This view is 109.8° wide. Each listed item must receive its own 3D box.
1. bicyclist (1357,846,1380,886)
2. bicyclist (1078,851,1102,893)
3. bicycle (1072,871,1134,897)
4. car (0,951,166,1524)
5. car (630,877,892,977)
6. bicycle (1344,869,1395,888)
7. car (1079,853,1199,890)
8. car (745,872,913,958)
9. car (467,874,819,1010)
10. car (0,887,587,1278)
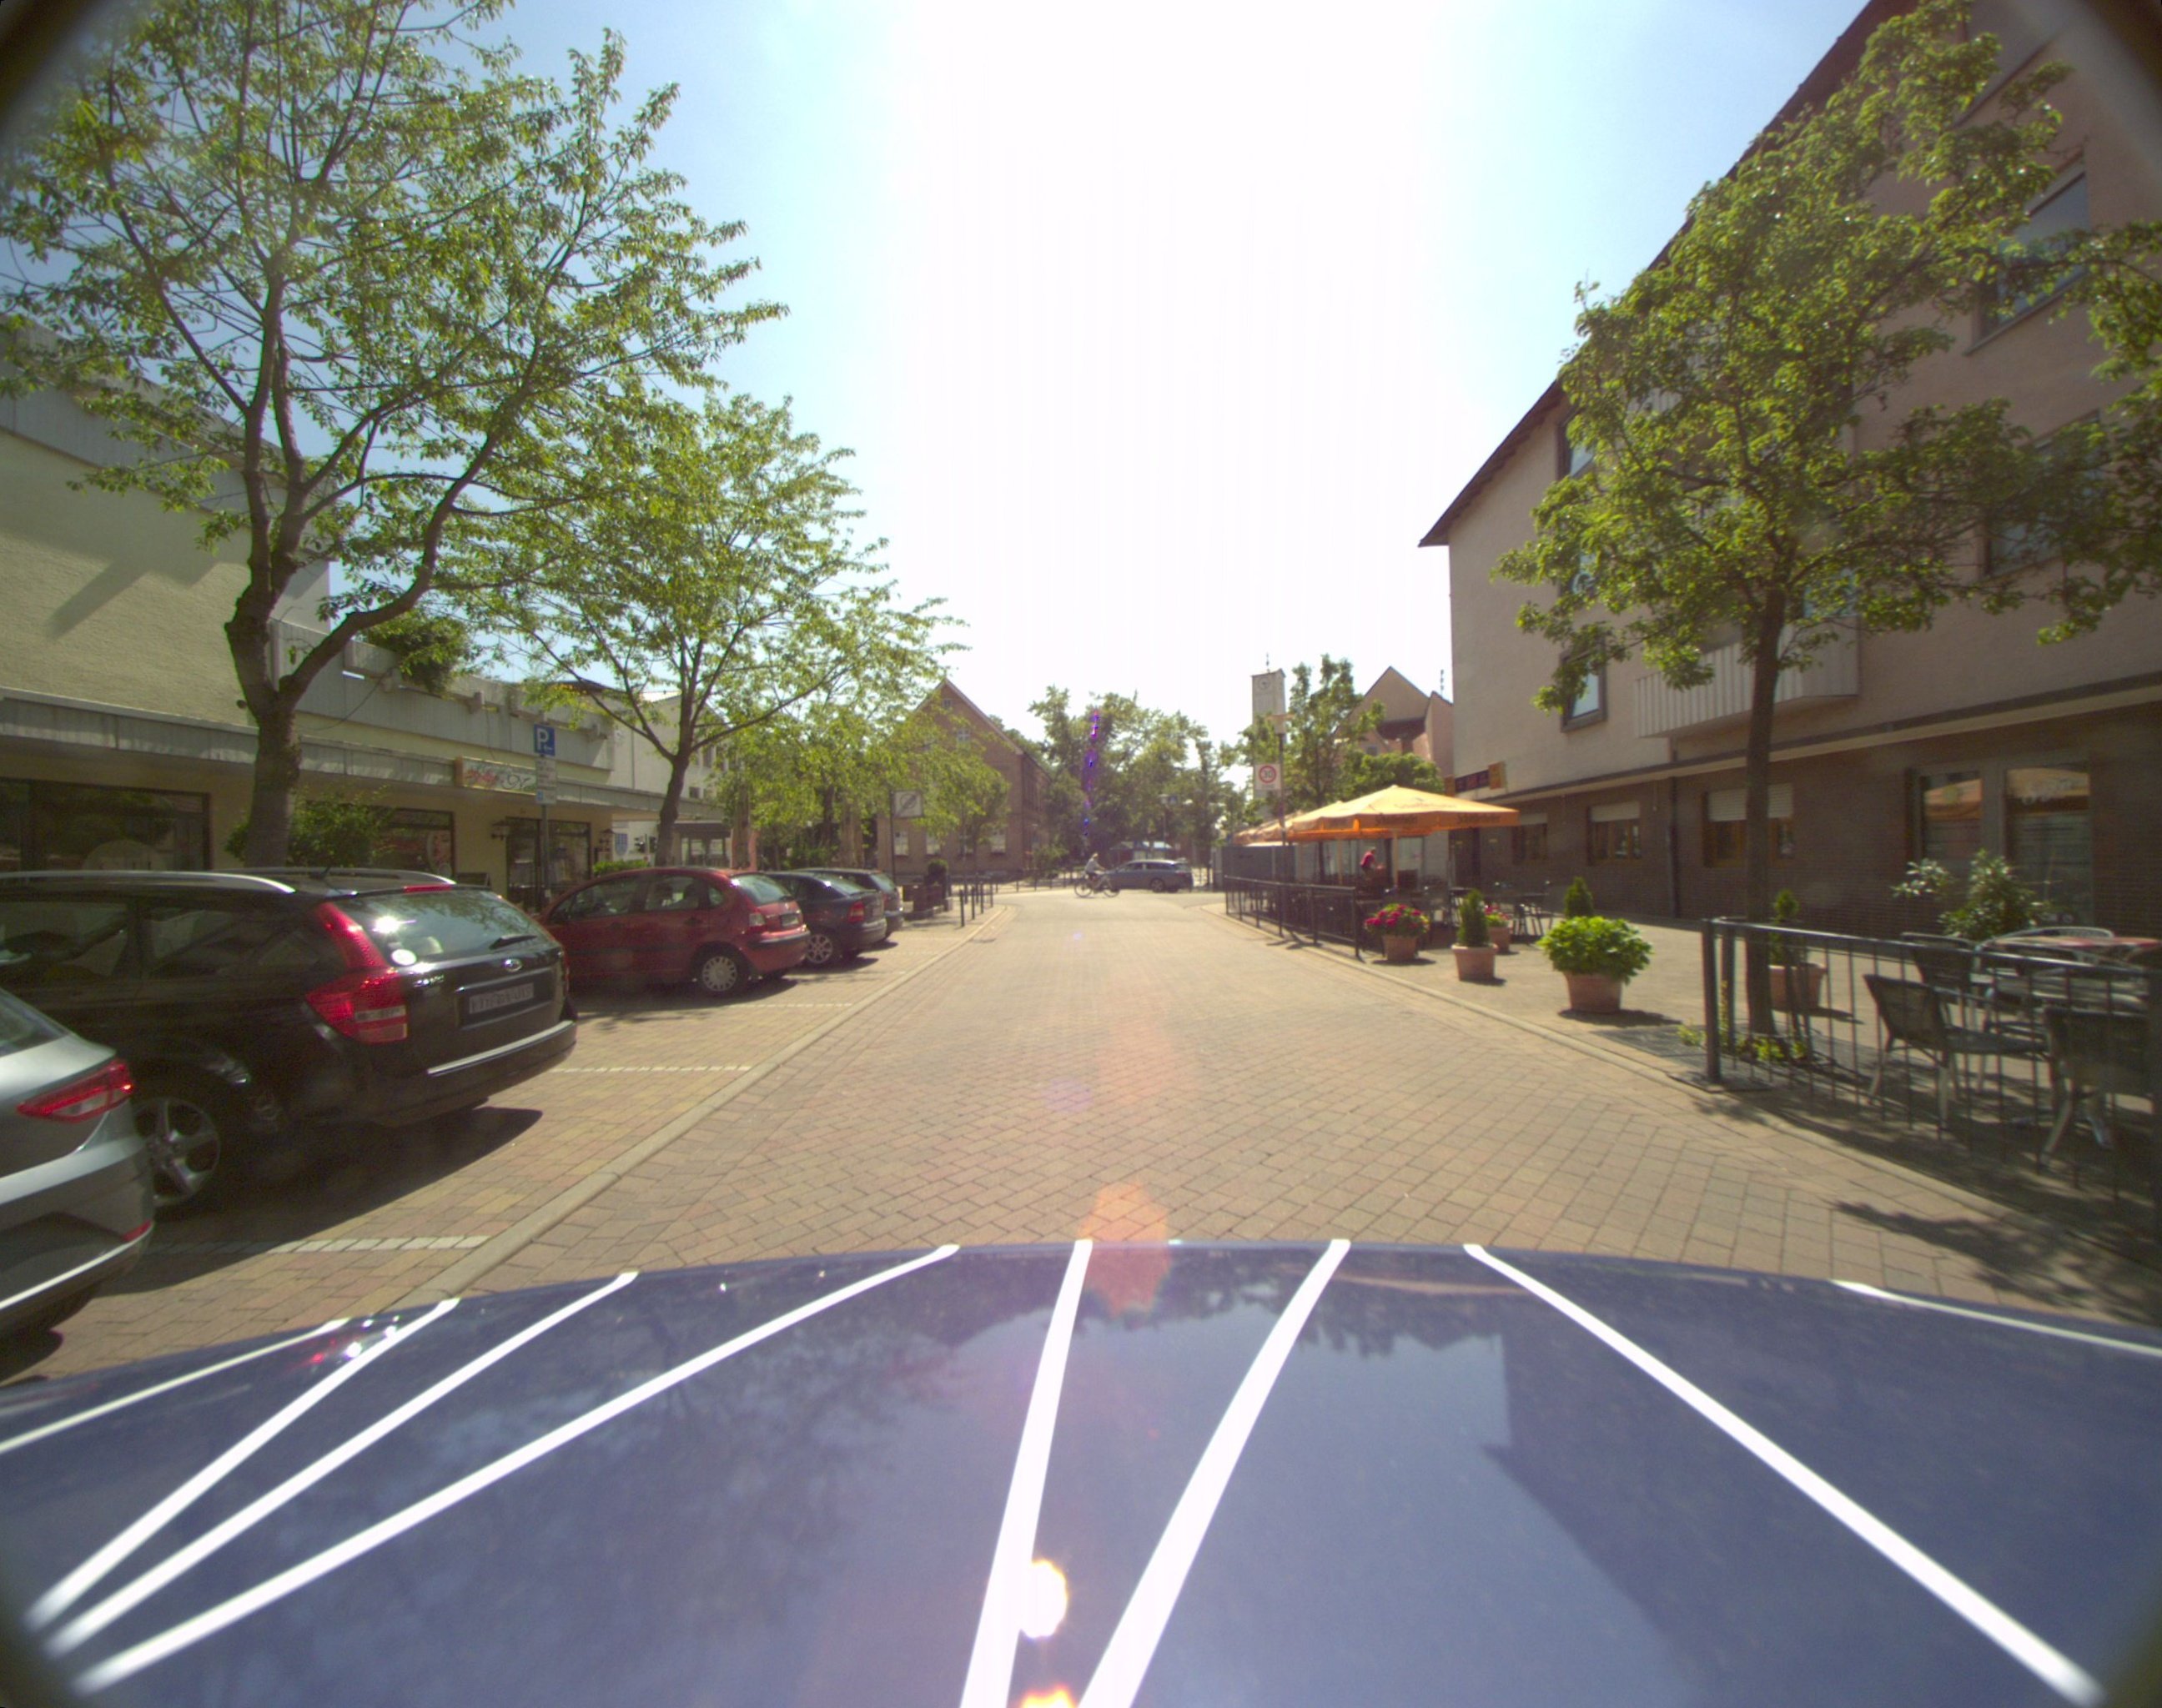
[{"bbox_3d":[11.182,0.457,29.539,0.580,1.501,0.626,-2,1,-8],"label":"bicyclist"},{"bbox_3d":[0.344,0.698,29.436,0.860,1.568,0.788,-2,1,-1],"label":"bicyclist"},{"bbox_3d":[0.830,1.150,29.453,2.342,0.919,0.775,-2,0,-1],"label":"bicycle"},{"bbox_3d":[-4.670,0.996,1.494,3.800,1.423,1.614,0,0,0],"label":"car"},{"bbox_3d":[-4.791,1.075,11.666,3.401,1.382,1.460,0,0,0],"label":"car"},{"bbox_3d":[11.215,0.941,29.545,1.812,0.669,0.489,-2,0,-8],"label":"bicycle"},{"bbox_3d":[2.615,0.786,34.328,5.019,1.547,1.907,-2,1,26],"label":"car"},{"bbox_3d":[-4.697,1.114,14.357,2.703,1.437,1.268,-2,0,0],"label":"car"},{"bbox_3d":[-5.150,1.004,9.235,3.401,1.455,1.520,0,0,0],"label":"car"},{"bbox_3d":[-4.912,0.969,3.921,3.652,1.508,1.633,0,0,0],"label":"car"}]
